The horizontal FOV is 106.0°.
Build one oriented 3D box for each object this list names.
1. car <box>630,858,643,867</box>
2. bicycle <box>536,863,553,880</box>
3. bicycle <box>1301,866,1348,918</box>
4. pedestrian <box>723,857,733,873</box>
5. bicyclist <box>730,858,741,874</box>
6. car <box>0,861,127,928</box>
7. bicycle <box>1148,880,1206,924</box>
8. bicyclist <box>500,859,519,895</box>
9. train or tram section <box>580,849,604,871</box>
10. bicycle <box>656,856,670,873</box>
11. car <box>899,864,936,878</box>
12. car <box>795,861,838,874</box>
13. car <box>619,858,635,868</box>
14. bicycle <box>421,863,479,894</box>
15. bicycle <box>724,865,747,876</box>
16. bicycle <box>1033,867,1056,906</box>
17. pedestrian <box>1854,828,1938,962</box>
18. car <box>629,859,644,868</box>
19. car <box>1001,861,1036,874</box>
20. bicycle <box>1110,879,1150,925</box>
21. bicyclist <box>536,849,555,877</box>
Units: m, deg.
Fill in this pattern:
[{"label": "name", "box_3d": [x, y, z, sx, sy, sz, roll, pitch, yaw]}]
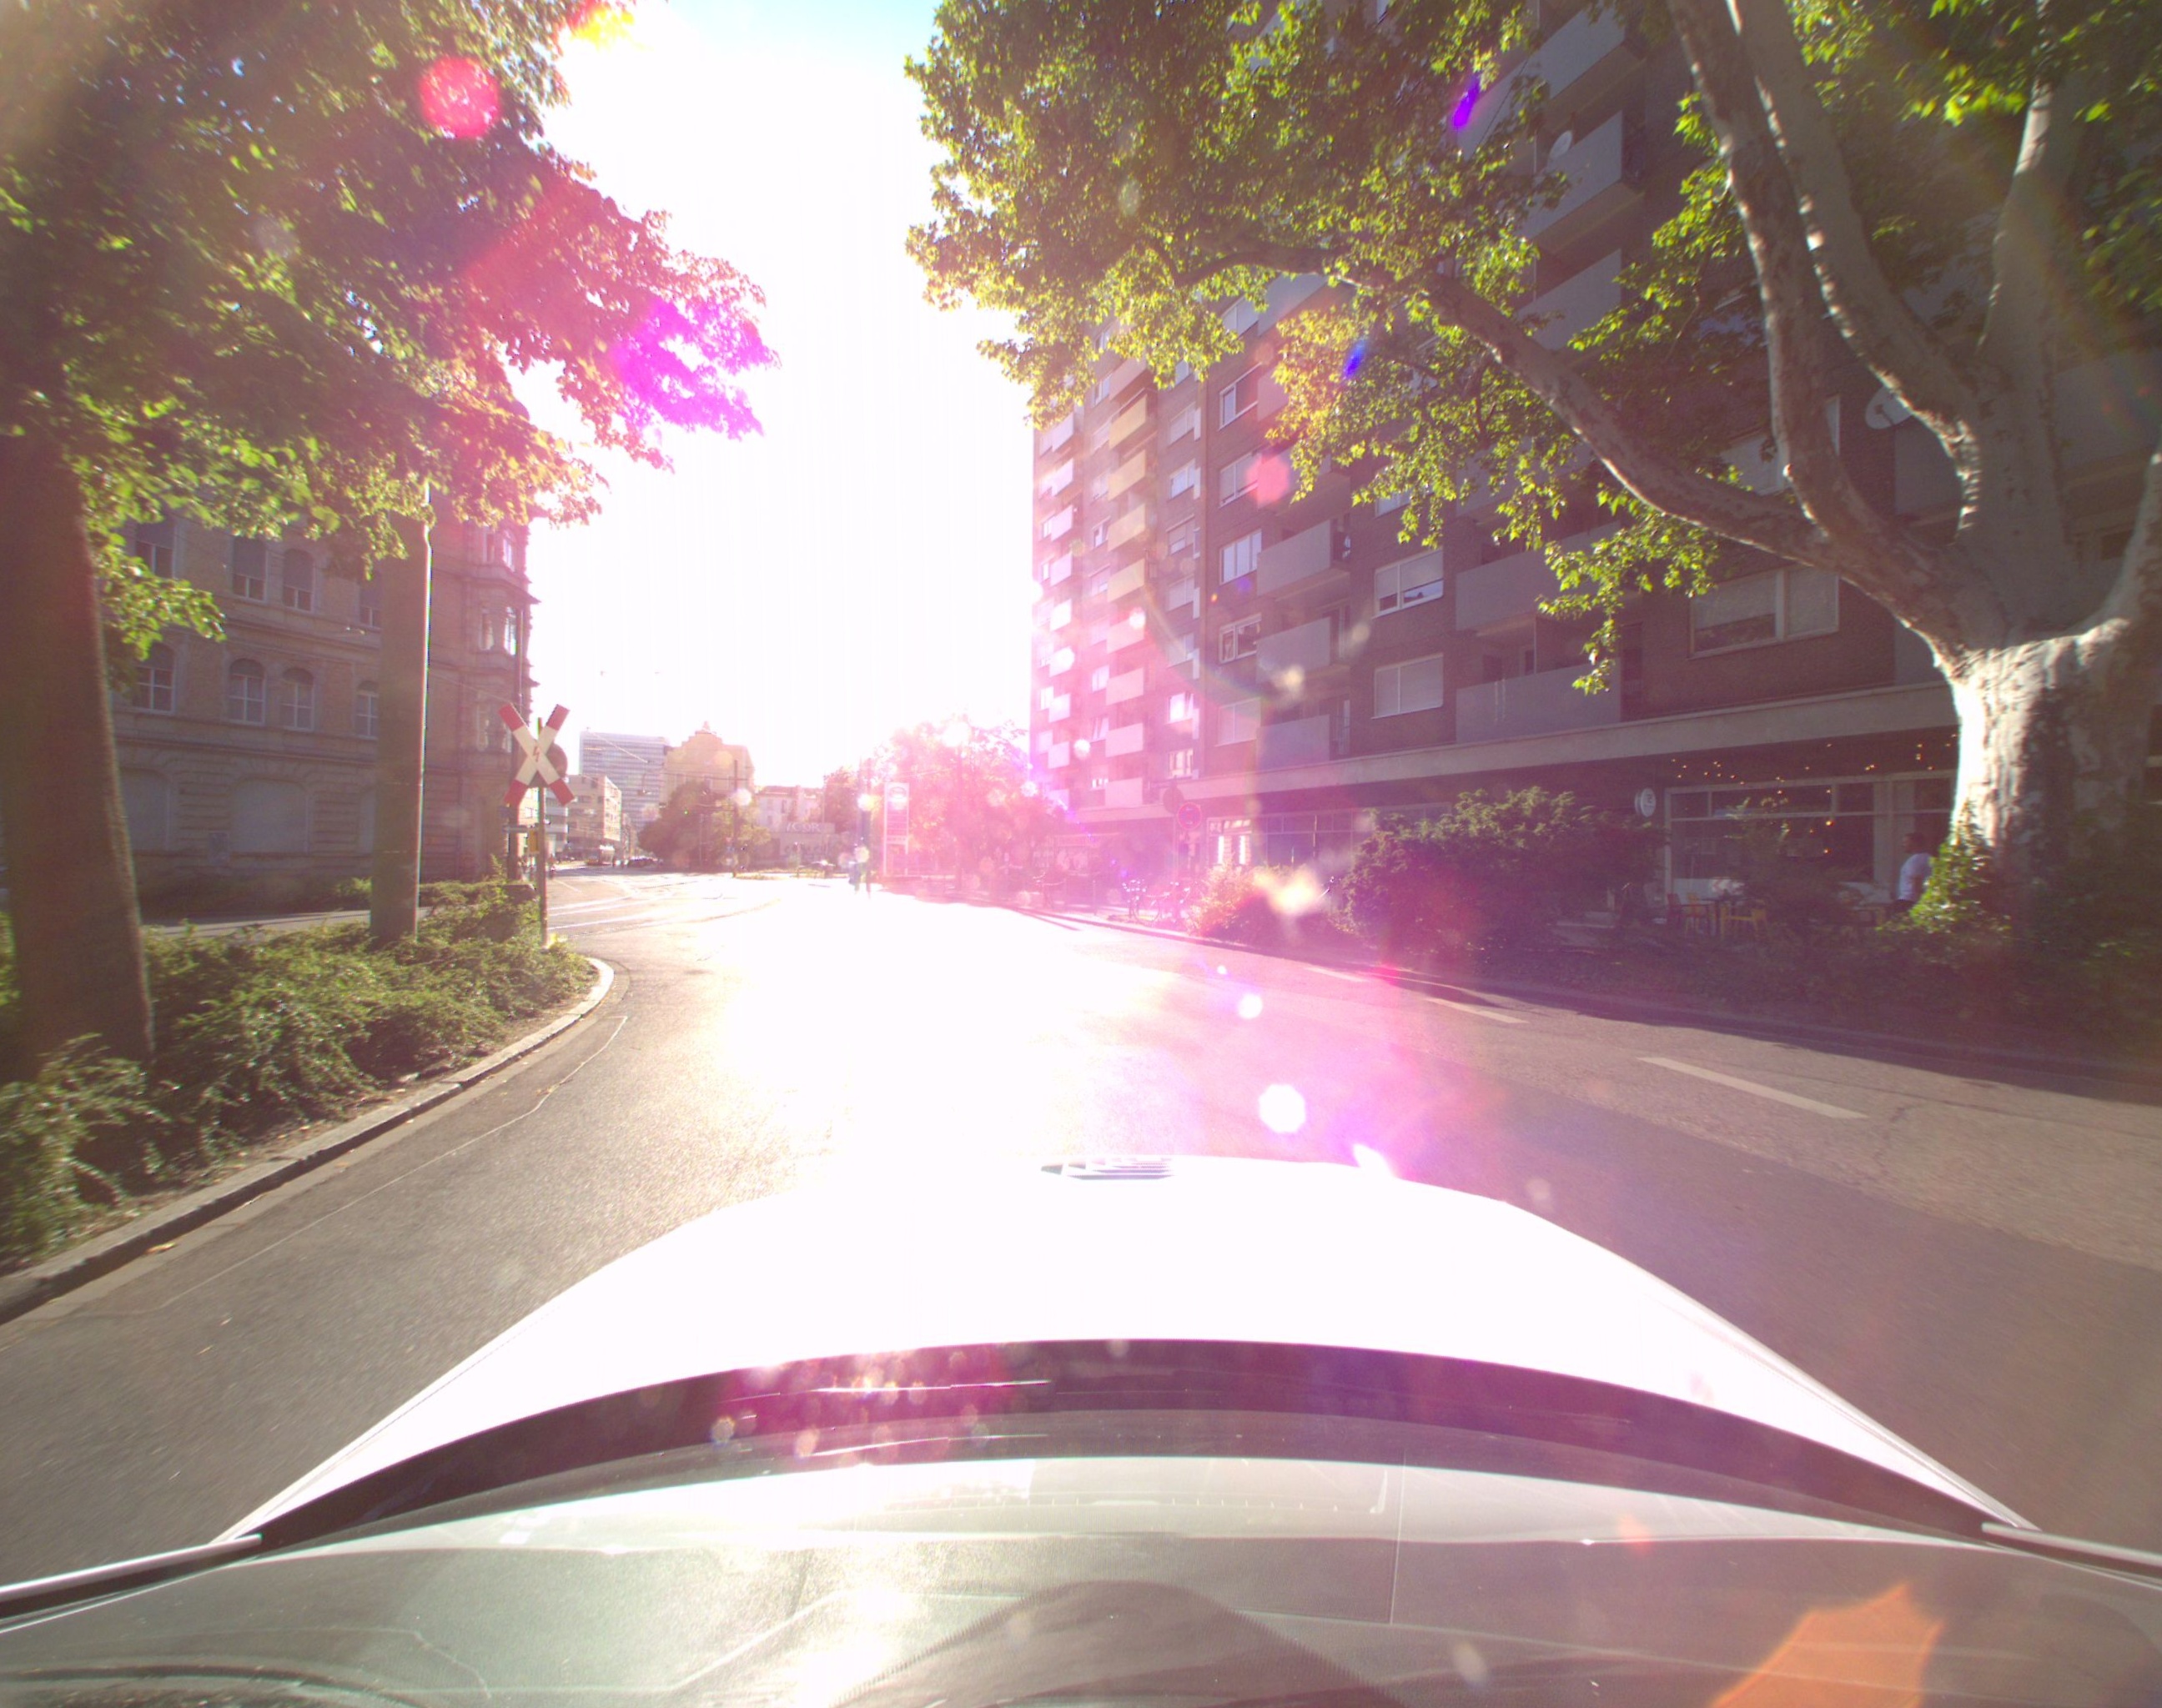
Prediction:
[{"label": "car", "box_3d": [-79.935, 1.551, 146.487, 2.005, 1.486, 3.964, 0, -1, -27]}, {"label": "bicycle", "box_3d": [-37.138, 1.215, 56.331, 0.889, 1.156, 2.299, 1, -1, -36]}, {"label": "bicycle", "box_3d": [5.071, 0.782, 17.018, 0.350, 1.038, 1.044, 0, -1, -23]}, {"label": "pedestrian", "box_3d": [-37.441, 1.213, 86.361, 0.931, 1.692, 0.770, 1, -1, -28]}, {"label": "bicyclist", "box_3d": [-30.988, 1.097, 73.026, 0.809, 1.413, 0.618, 1, -2, -30]}, {"label": "car", "box_3d": [-25.753, 0.946, 19.352, 1.836, 1.429, 3.510, 3, 1, 17]}, {"label": "bicycle", "box_3d": [2.153, 1.061, 18.491, 0.545, 0.904, 1.722, 0, -1, -23]}, {"label": "bicyclist", "box_3d": [-24.438, 0.971, 34.837, 0.595, 1.491, 0.695, 0, -1, -30]}, {"label": "train or tram section", "box_3d": [-84.136, 1.106, 140.249, 2.253, 3.574, 14.155, 0, -1, -26]}, {"label": "bicycle", "box_3d": [-46.504, 1.169, 90.620, 1.359, 1.806, 0.563, 0, -1, -21]}, {"label": "car", "box_3d": [-18.035, 1.850, 89.693, 3.991, 1.453, 1.802, 0, -1, -13]}, {"label": "car", "box_3d": [-30.708, 1.550, 94.726, 4.473, 1.487, 1.775, 0, -1, -9]}, {"label": "car", "box_3d": [-69.065, 1.370, 123.885, 2.005, 1.464, 3.964, 0, -1, -27]}, {"label": "bicycle", "box_3d": [-25.550, 0.983, 33.007, 0.497, 1.206, 1.801, 3, 0, 20]}, {"label": "bicycle", "box_3d": [-30.997, 1.451, 73.031, 1.844, 0.984, 0.727, 0, -1, -31]}, {"label": "bicycle", "box_3d": [-1.242, 1.074, 27.525, 0.637, 1.226, 2.083, 0, -1, -6]}, {"label": "pedestrian", "box_3d": [11.254, 0.545, 11.253, 0.688, 1.773, 0.630, 0, -1, -28]}, {"label": "car", "box_3d": [-72.818, 1.559, 133.379, 2.005, 1.486, 3.964, 0, -1, -27]}, {"label": "car", "box_3d": [-7.453, 1.650, 97.461, 3.992, 1.508, 1.665, 0, -1, -14]}, {"label": "bicycle", "box_3d": [1.182, 1.160, 20.064, 0.637, 1.022, 2.083, 0, -1, -6]}, {"label": "bicyclist", "box_3d": [-37.078, 0.625, 56.404, 1.037, 1.891, 1.100, 1, -2, -36]}]
